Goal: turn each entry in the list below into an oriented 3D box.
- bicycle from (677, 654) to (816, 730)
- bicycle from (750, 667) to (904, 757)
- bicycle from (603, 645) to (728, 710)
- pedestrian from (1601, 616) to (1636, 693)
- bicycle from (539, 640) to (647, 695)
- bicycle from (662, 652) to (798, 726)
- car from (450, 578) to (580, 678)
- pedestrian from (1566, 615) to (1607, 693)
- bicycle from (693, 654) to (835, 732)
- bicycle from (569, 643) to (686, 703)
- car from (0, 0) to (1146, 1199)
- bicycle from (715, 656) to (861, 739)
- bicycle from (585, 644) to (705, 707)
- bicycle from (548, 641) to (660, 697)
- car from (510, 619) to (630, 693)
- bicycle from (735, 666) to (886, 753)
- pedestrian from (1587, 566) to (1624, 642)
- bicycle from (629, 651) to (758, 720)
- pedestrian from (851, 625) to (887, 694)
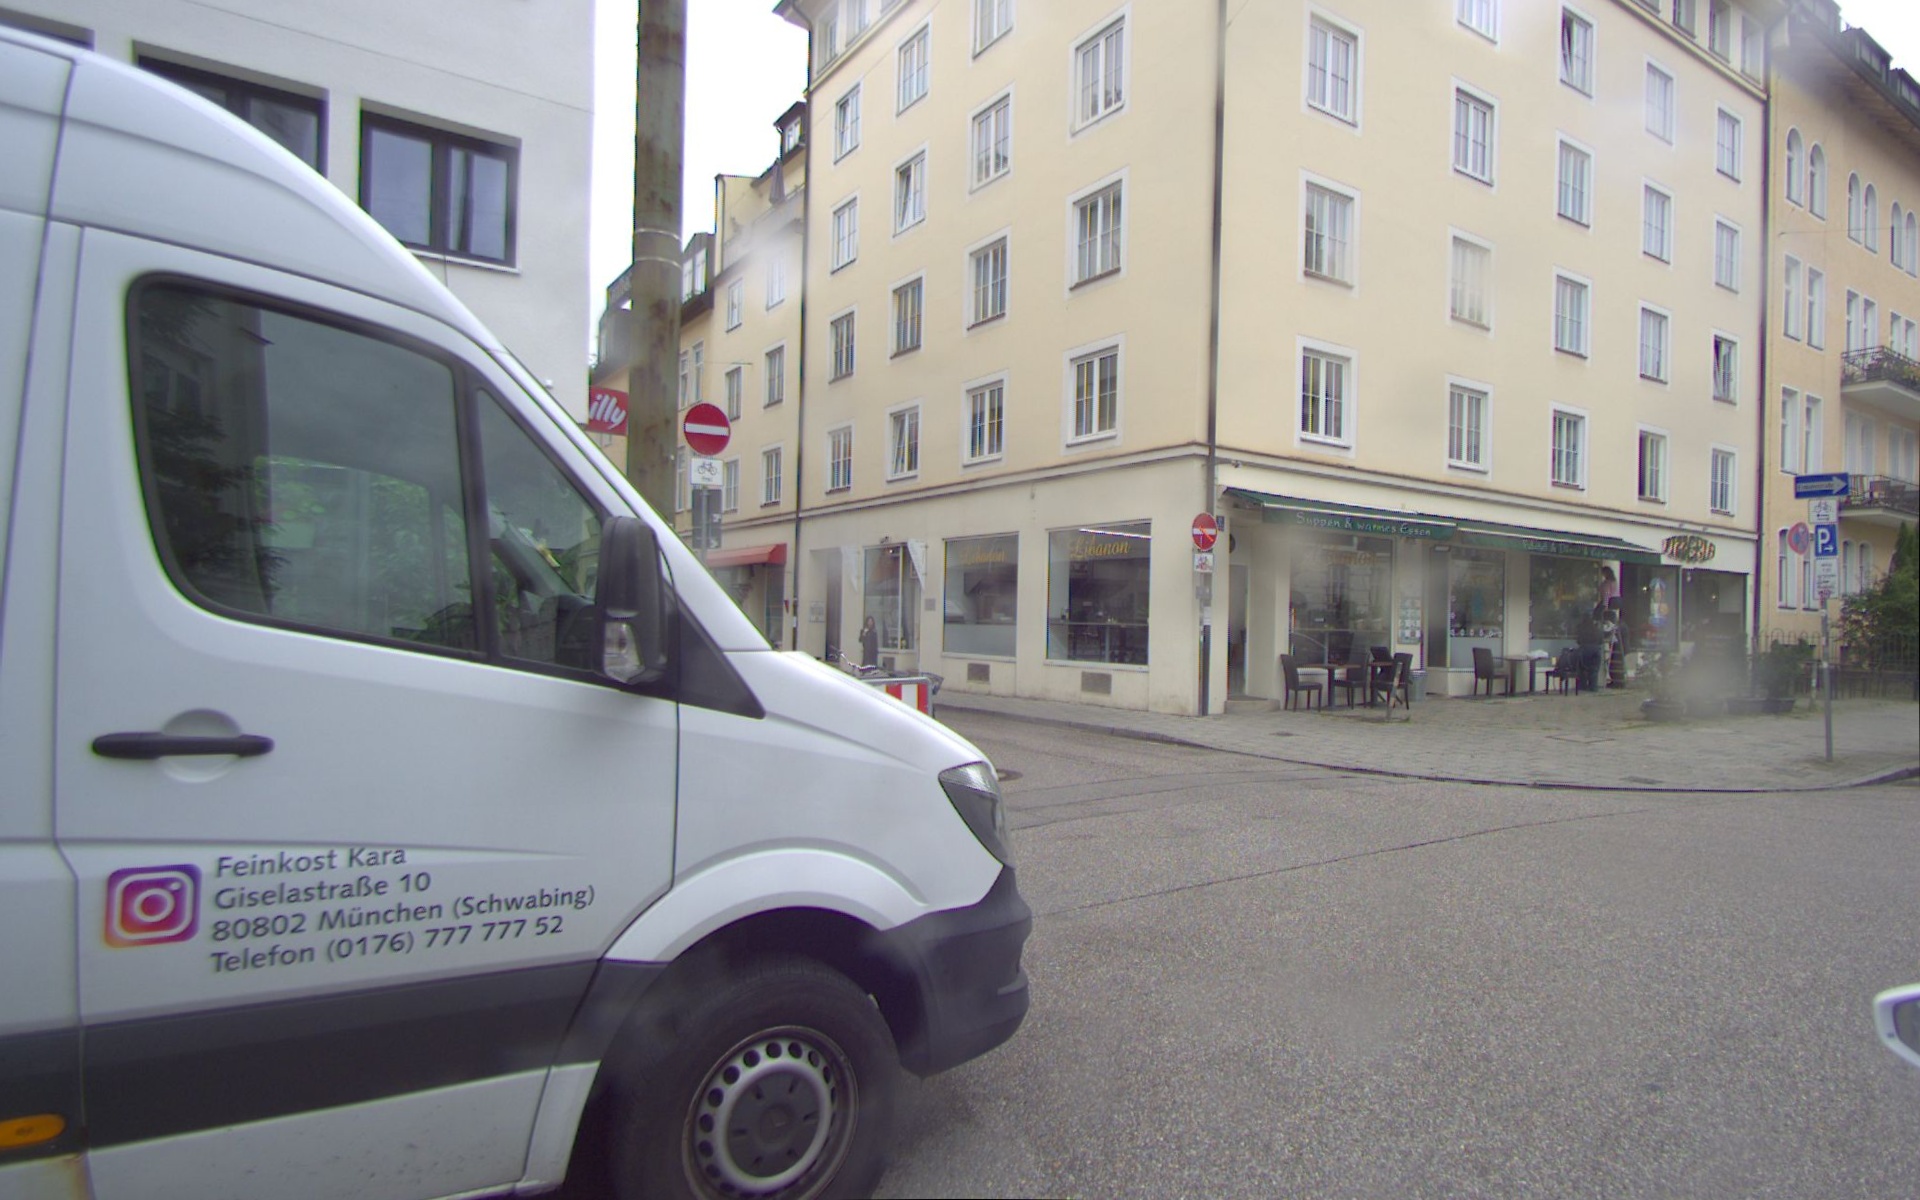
[{"bbox_3d":[-2.923,1.243,13.915,1.877,0.981,0.394,2,-1,-38],"label":"bicycle"},{"bbox_3d":[-1.565,1.318,12.096,1.877,0.981,0.394,2,-1,-38],"label":"bicycle"},{"bbox_3d":[-4.681,1.225,16.061,1.877,0.981,0.394,2,-1,-38],"label":"bicycle"},{"bbox_3d":[15.021,1.234,22.910,0.568,1.712,0.459,2,-1,-31],"label":"pedestrian"},{"bbox_3d":[-6.914,1.262,18.991,1.877,0.981,0.394,2,-1,-38],"label":"bicycle"},{"bbox_3d":[-3.252,1.247,14.321,1.877,0.981,0.394,2,-1,-38],"label":"bicycle"},{"bbox_3d":[-12.377,0.708,27.646,1.946,2.419,6.418,2,-1,-36],"label":"car"},{"bbox_3d":[13.755,1.177,22.065,0.623,1.664,0.519,2,-1,-32],"label":"pedestrian"},{"bbox_3d":[-2.606,1.223,13.497,1.877,0.981,0.394,2,-1,-38],"label":"bicycle"},{"bbox_3d":[-5.751,1.249,17.454,1.877,0.981,0.394,2,-1,-38],"label":"bicycle"},{"bbox_3d":[-2.429,0.174,2.254,5.725,2.607,1.968,2,-3,-30],"label":"car"},{"bbox_3d":[-2.181,1.224,12.915,1.877,0.981,0.394,2,-1,-38],"label":"bicycle"},{"bbox_3d":[-5.225,1.241,16.734,1.877,0.981,0.394,2,-1,-38],"label":"bicycle"},{"bbox_3d":[-6.520,1.260,18.456,1.877,0.981,0.394,2,-1,-38],"label":"bicycle"},{"bbox_3d":[-8.304,1.125,21.224,1.476,1.426,3.654,2,-2,-36],"label":"car"},{"bbox_3d":[-1.823,1.319,12.440,1.877,0.981,0.394,2,-1,-38],"label":"bicycle"},{"bbox_3d":[14.451,0.085,22.487,0.491,1.664,0.475,2,-1,-27],"label":"pedestrian"},{"bbox_3d":[-4.018,1.271,15.257,1.877,0.981,0.394,2,-1,-38],"label":"bicycle"},{"bbox_3d":[-2.154,1.403,23.751,0.632,1.582,0.604,2,-1,-28],"label":"pedestrian"}]
